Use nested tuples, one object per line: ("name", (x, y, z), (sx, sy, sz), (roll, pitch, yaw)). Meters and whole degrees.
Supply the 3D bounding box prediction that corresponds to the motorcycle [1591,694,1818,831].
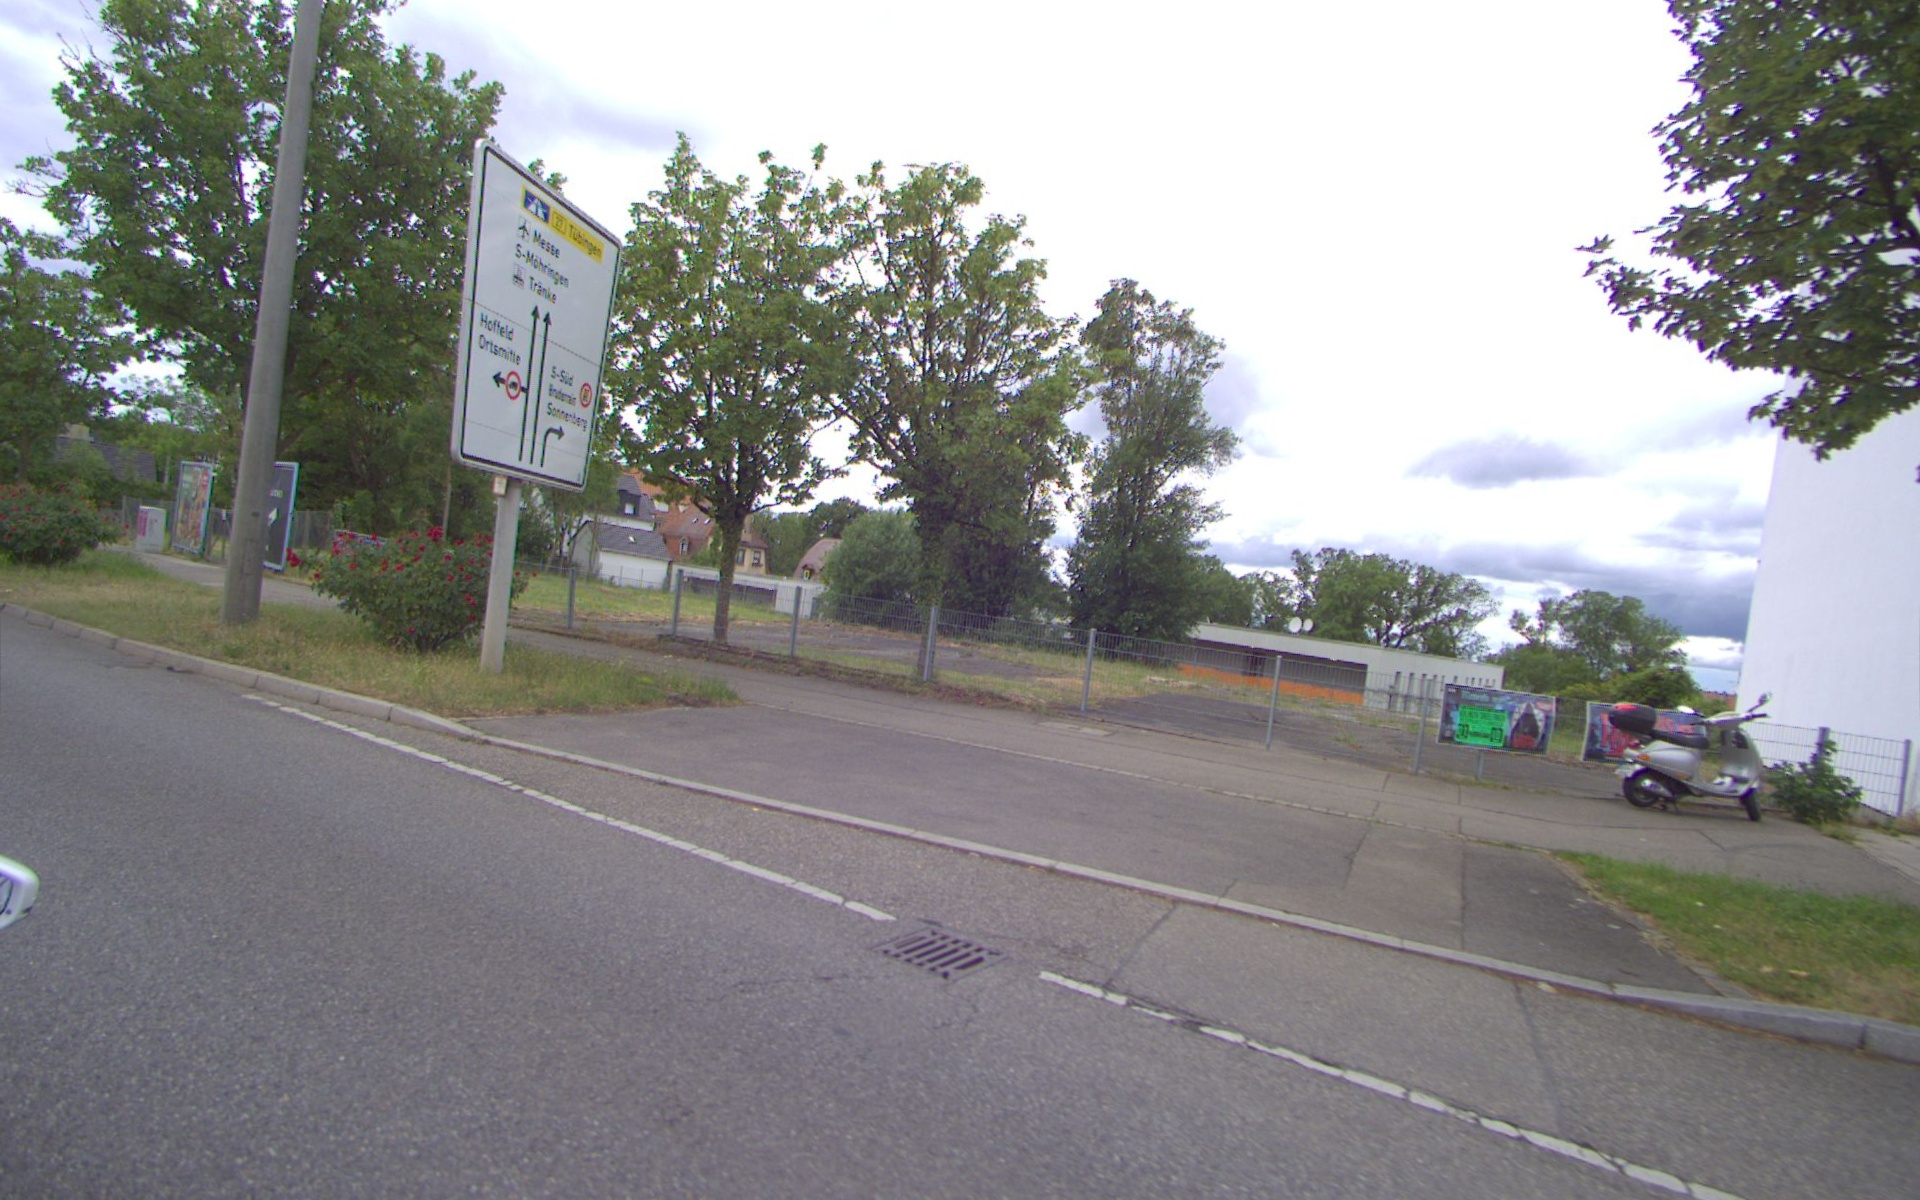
("motorcycle", (7.842, 1.703, 10.651), (1.711, 1.129, 0.824), (7, 1, -5))
